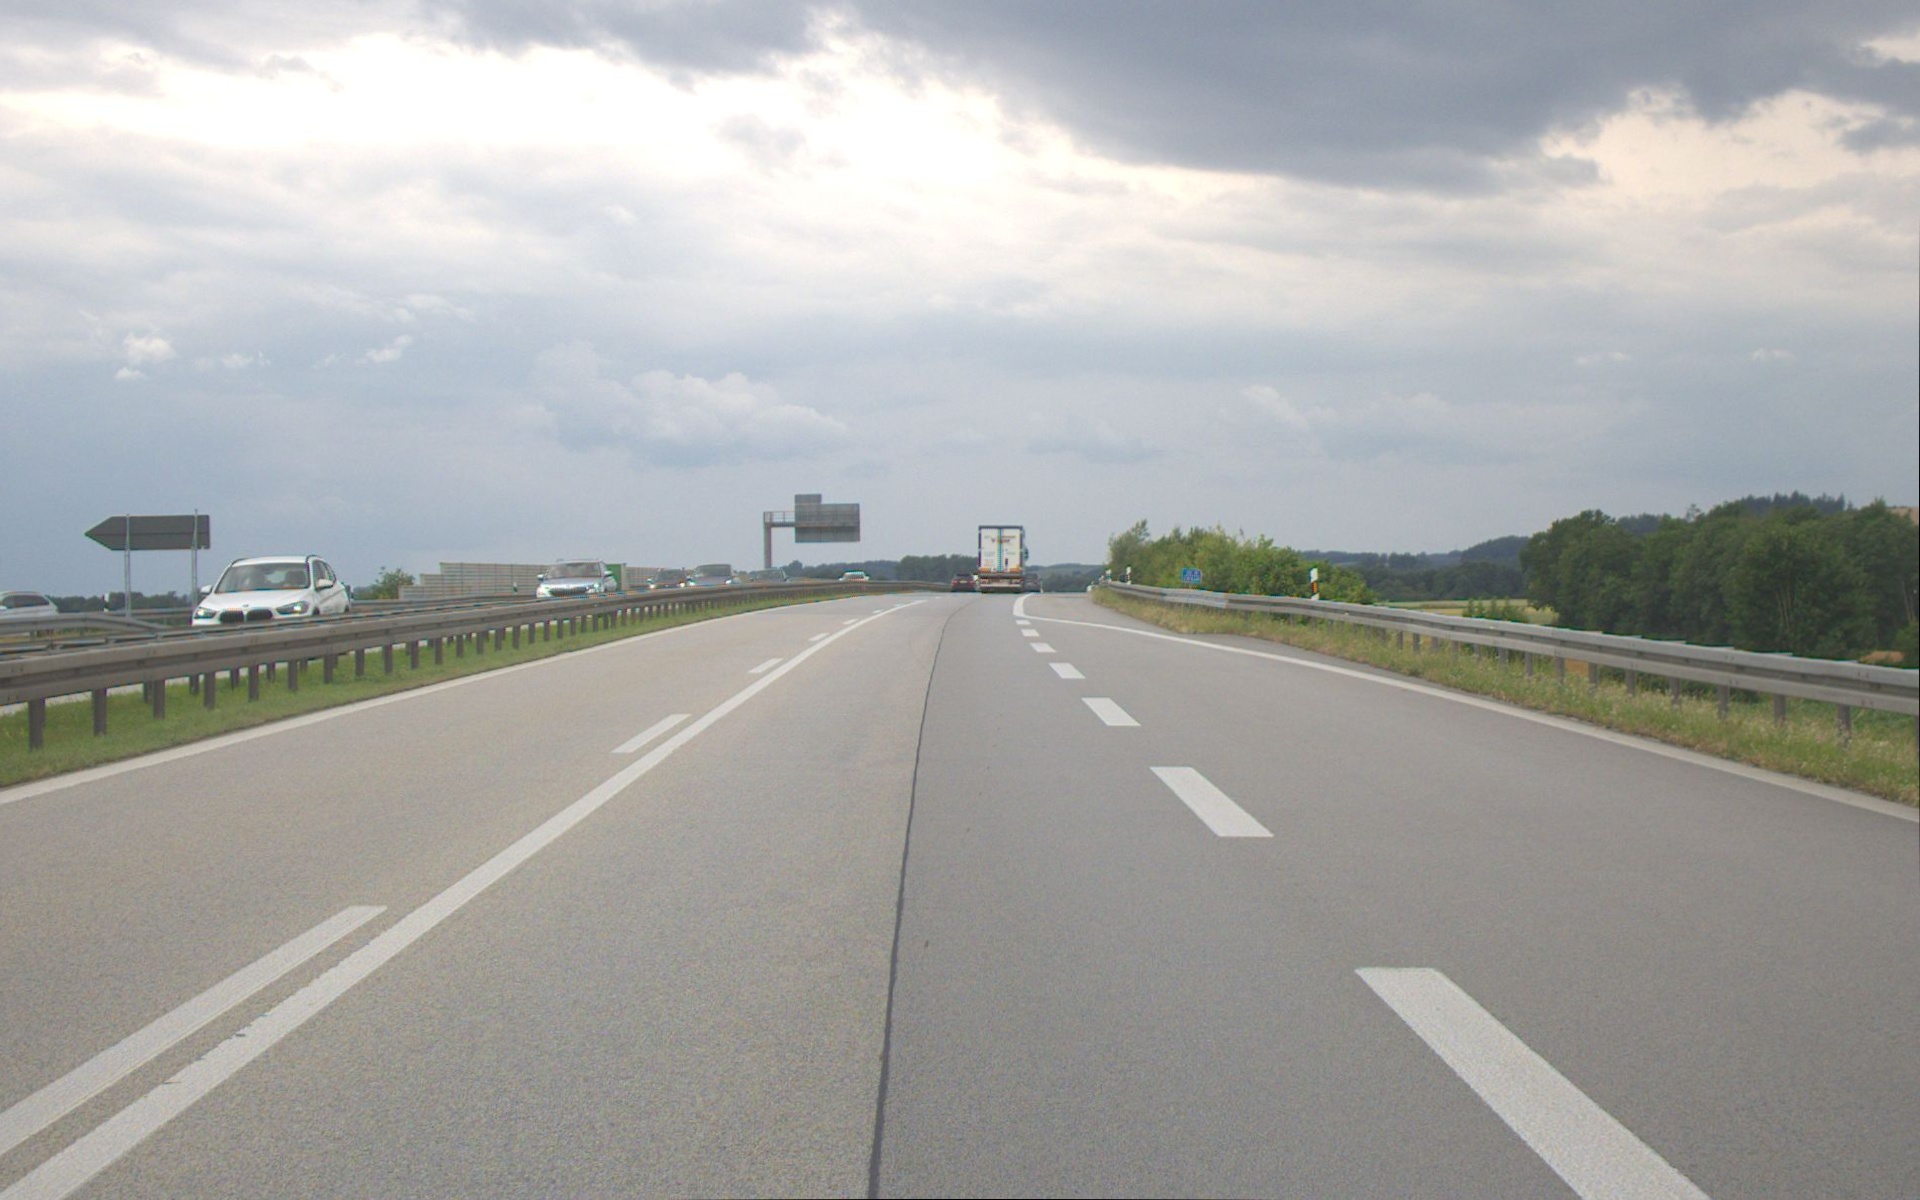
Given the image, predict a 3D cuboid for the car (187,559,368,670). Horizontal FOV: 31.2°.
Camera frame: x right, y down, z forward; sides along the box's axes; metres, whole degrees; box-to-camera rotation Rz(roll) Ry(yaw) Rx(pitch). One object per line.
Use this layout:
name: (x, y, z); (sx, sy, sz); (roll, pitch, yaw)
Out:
car: (-10.597, 0.188, 53.682); (1.853, 1.582, 4.817); (-1, 1, 0)

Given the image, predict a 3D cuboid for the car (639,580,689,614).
car: (-12.993, -0.130, 151.102); (1.800, 1.388, 4.000); (1, 1, 0)

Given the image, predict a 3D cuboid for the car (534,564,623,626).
car: (-10.451, -0.155, 94.385); (1.891, 1.582, 4.762); (-1, 1, 0)

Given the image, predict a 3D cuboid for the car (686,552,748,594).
car: (-9.810, -1.110, 139.310); (2.135, 1.582, 4.999); (-1, 1, 0)

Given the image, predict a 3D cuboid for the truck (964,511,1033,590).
truck: (2.455, -2.960, 211.246); (3.672, 4.397, 16.338); (-1, -1, 2)

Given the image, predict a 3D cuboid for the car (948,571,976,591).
car: (0.134, -1.403, 250.785); (1.993, 1.415, 4.000); (1, 1, 0)
